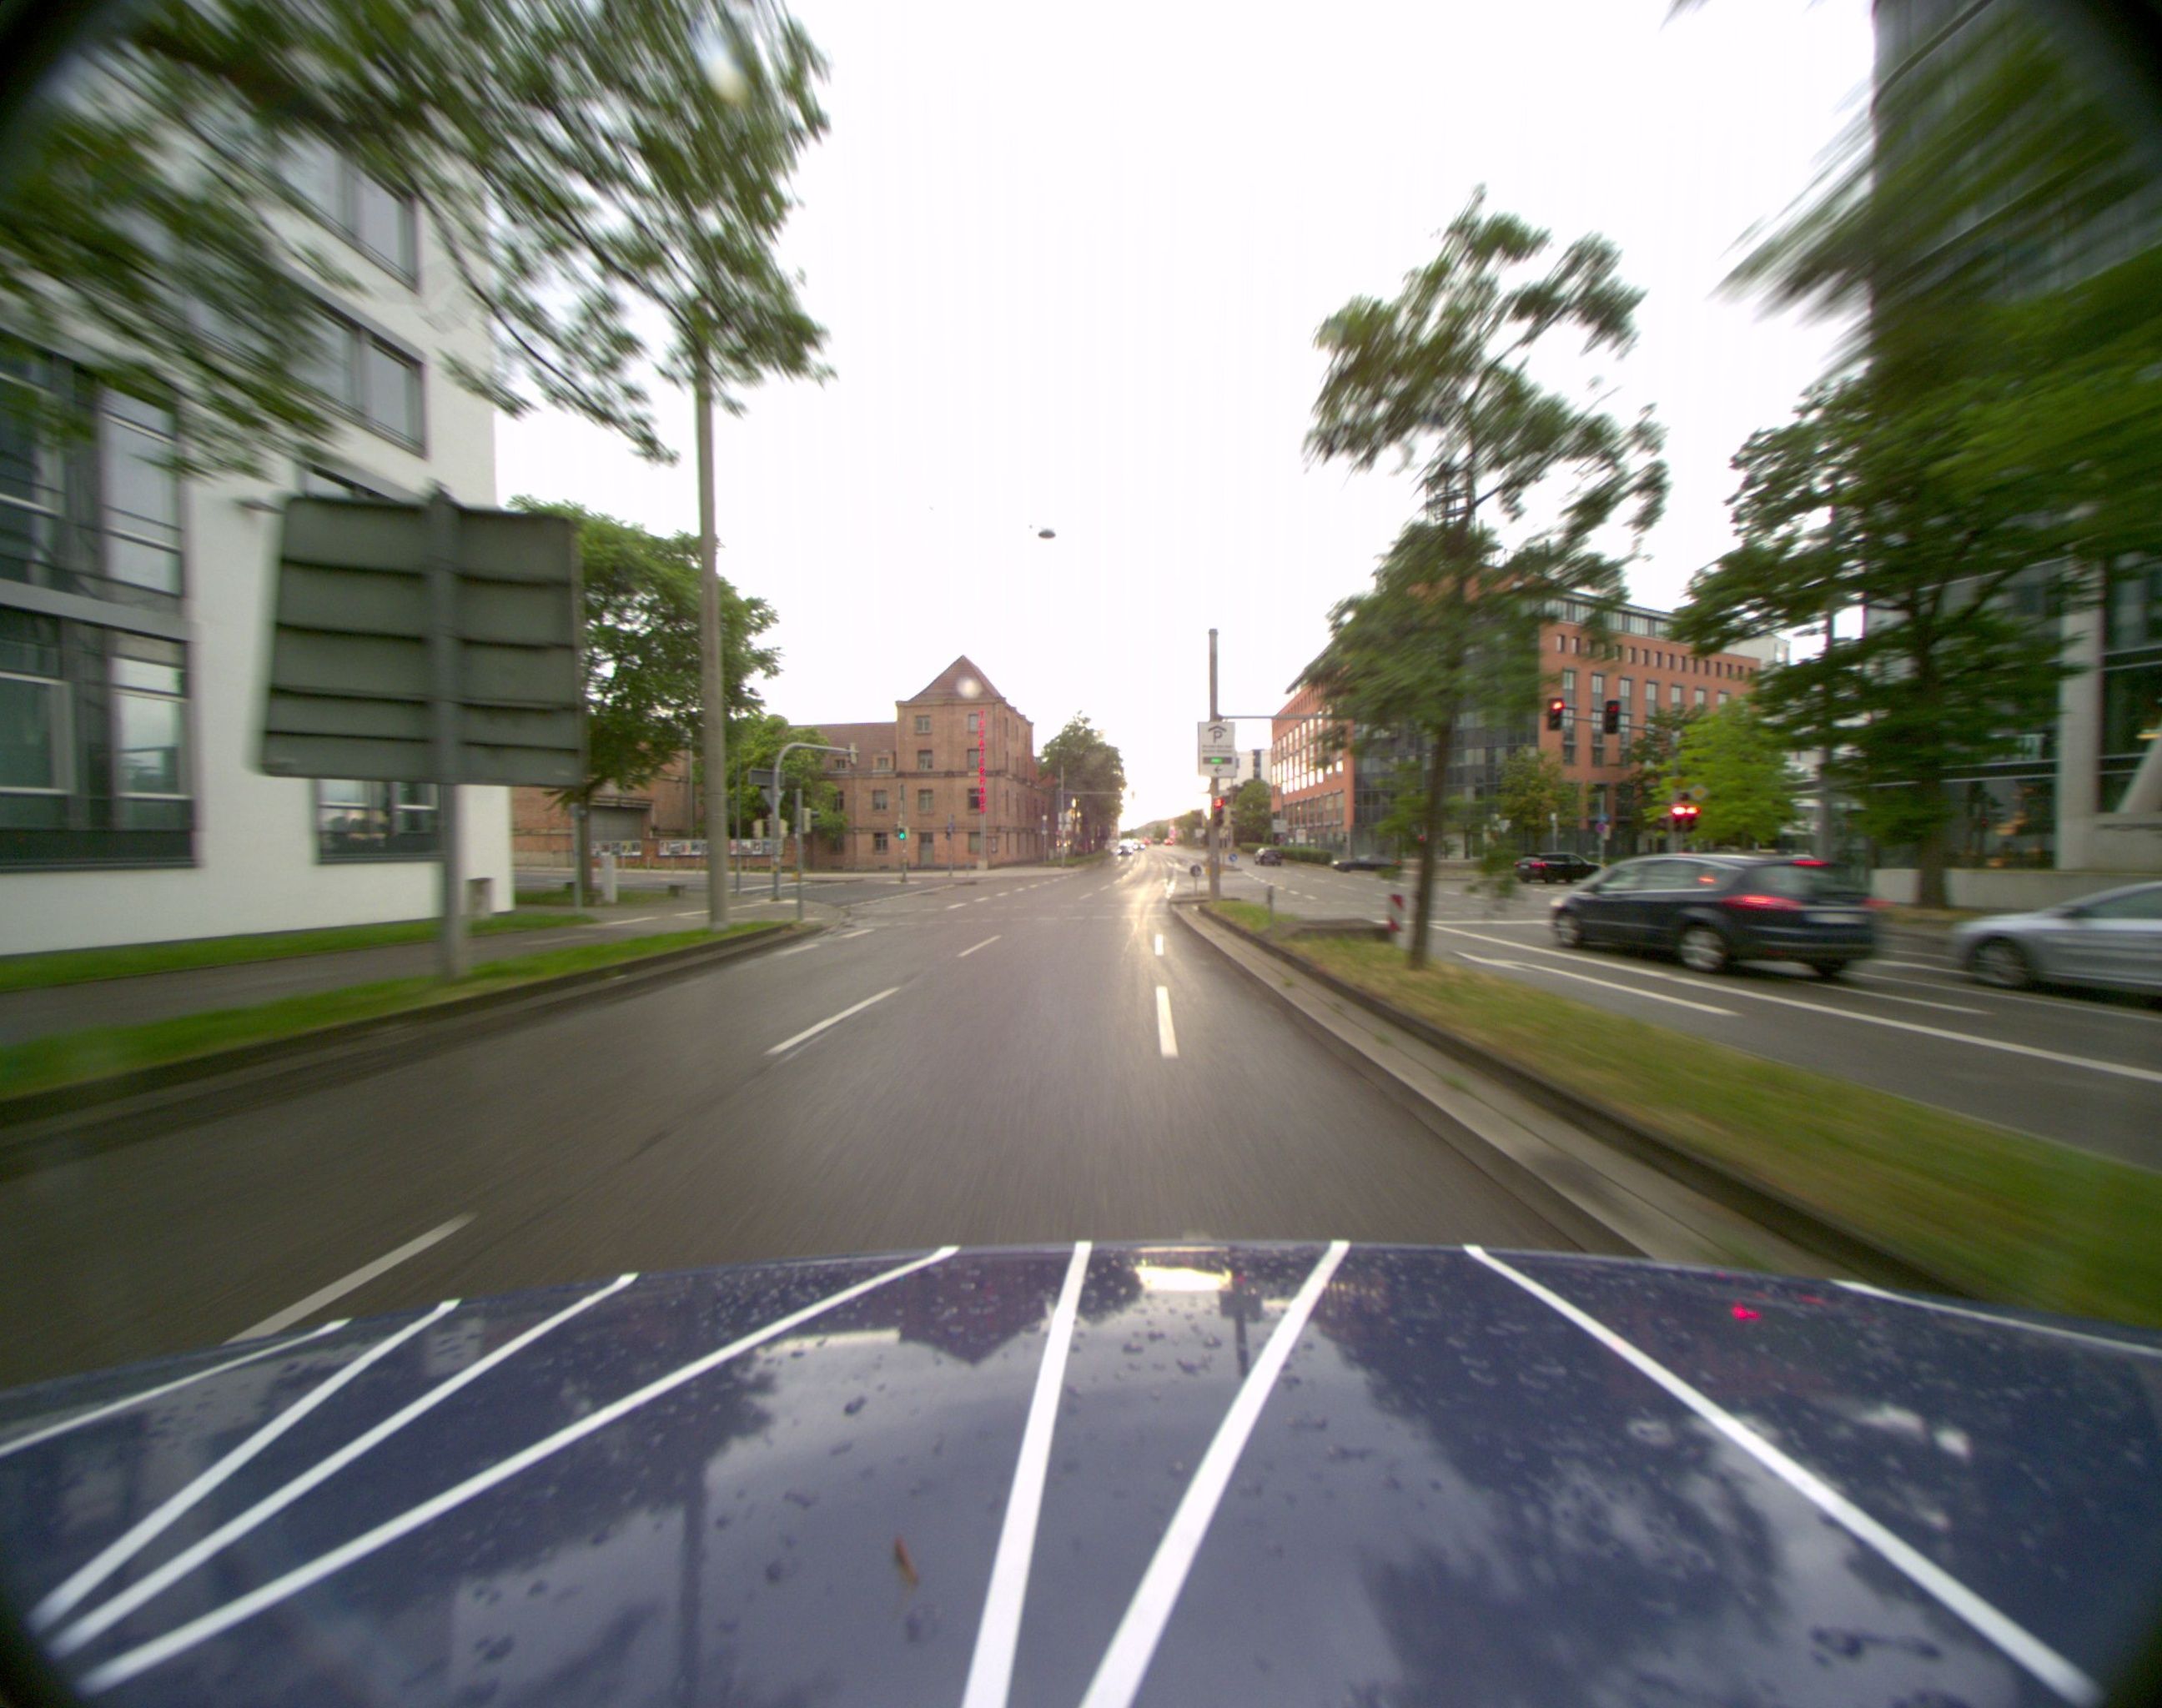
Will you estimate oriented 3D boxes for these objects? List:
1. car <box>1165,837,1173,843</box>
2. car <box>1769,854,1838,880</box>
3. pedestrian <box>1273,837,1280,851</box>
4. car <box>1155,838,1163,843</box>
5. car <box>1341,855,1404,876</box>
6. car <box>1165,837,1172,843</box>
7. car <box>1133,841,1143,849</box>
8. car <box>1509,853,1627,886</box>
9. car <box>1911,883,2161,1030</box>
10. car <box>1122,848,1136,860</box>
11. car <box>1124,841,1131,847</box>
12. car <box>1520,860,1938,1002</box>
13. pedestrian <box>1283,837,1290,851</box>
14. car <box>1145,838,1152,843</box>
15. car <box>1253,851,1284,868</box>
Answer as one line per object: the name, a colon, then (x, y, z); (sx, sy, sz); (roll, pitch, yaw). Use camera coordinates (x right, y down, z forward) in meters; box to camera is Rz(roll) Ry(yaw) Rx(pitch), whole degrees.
car: (24.525, -3.846, 212.116); (1.766, 1.559, 3.999); (1, 2, 2)
car: (47.409, 0.842, 49.840); (4.202, 1.587, 1.774); (0, 2, -24)
pedestrian: (26.161, -1.380, 101.684); (0.747, 1.831, 0.886); (-2, 2, 4)
car: (22.610, -3.880, 220.088); (1.998, 1.543, 4.000); (0, 2, 5)
car: (20.775, 0.780, 54.171); (3.989, 1.355, 1.856); (2, 2, 27)
car: (26.269, -4.231, 227.408); (1.766, 1.559, 4.000); (1, 2, 3)
car: (10.425, -1.662, 137.971); (1.798, 1.501, 4.001); (1, 1, 5)
car: (26.122, 0.807, 40.825); (5.426, 1.657, 1.997); (0, 1, -11)
car: (12.051, 1.133, 7.876); (1.818, 1.403, 4.655); (1, 1, 1)
car: (6.437, 0.015, 101.444); (1.798, 1.501, 4.001); (1, 1, 5)
car: (12.492, -2.755, 204.380); (1.798, 1.501, 4.001); (1, 1, 5)
car: (9.225, 0.942, 11.647); (1.998, 1.606, 5.120); (1, 0, 0)
pedestrian: (27.321, -1.380, 101.016); (0.747, 1.831, 0.886); (-2, 2, 4)
car: (18.818, -3.805, 212.877); (1.998, 1.543, 4.000); (0, 2, 5)
car: (17.174, 0.495, 69.735); (1.855, 1.501, 4.373); (1, 1, 2)
